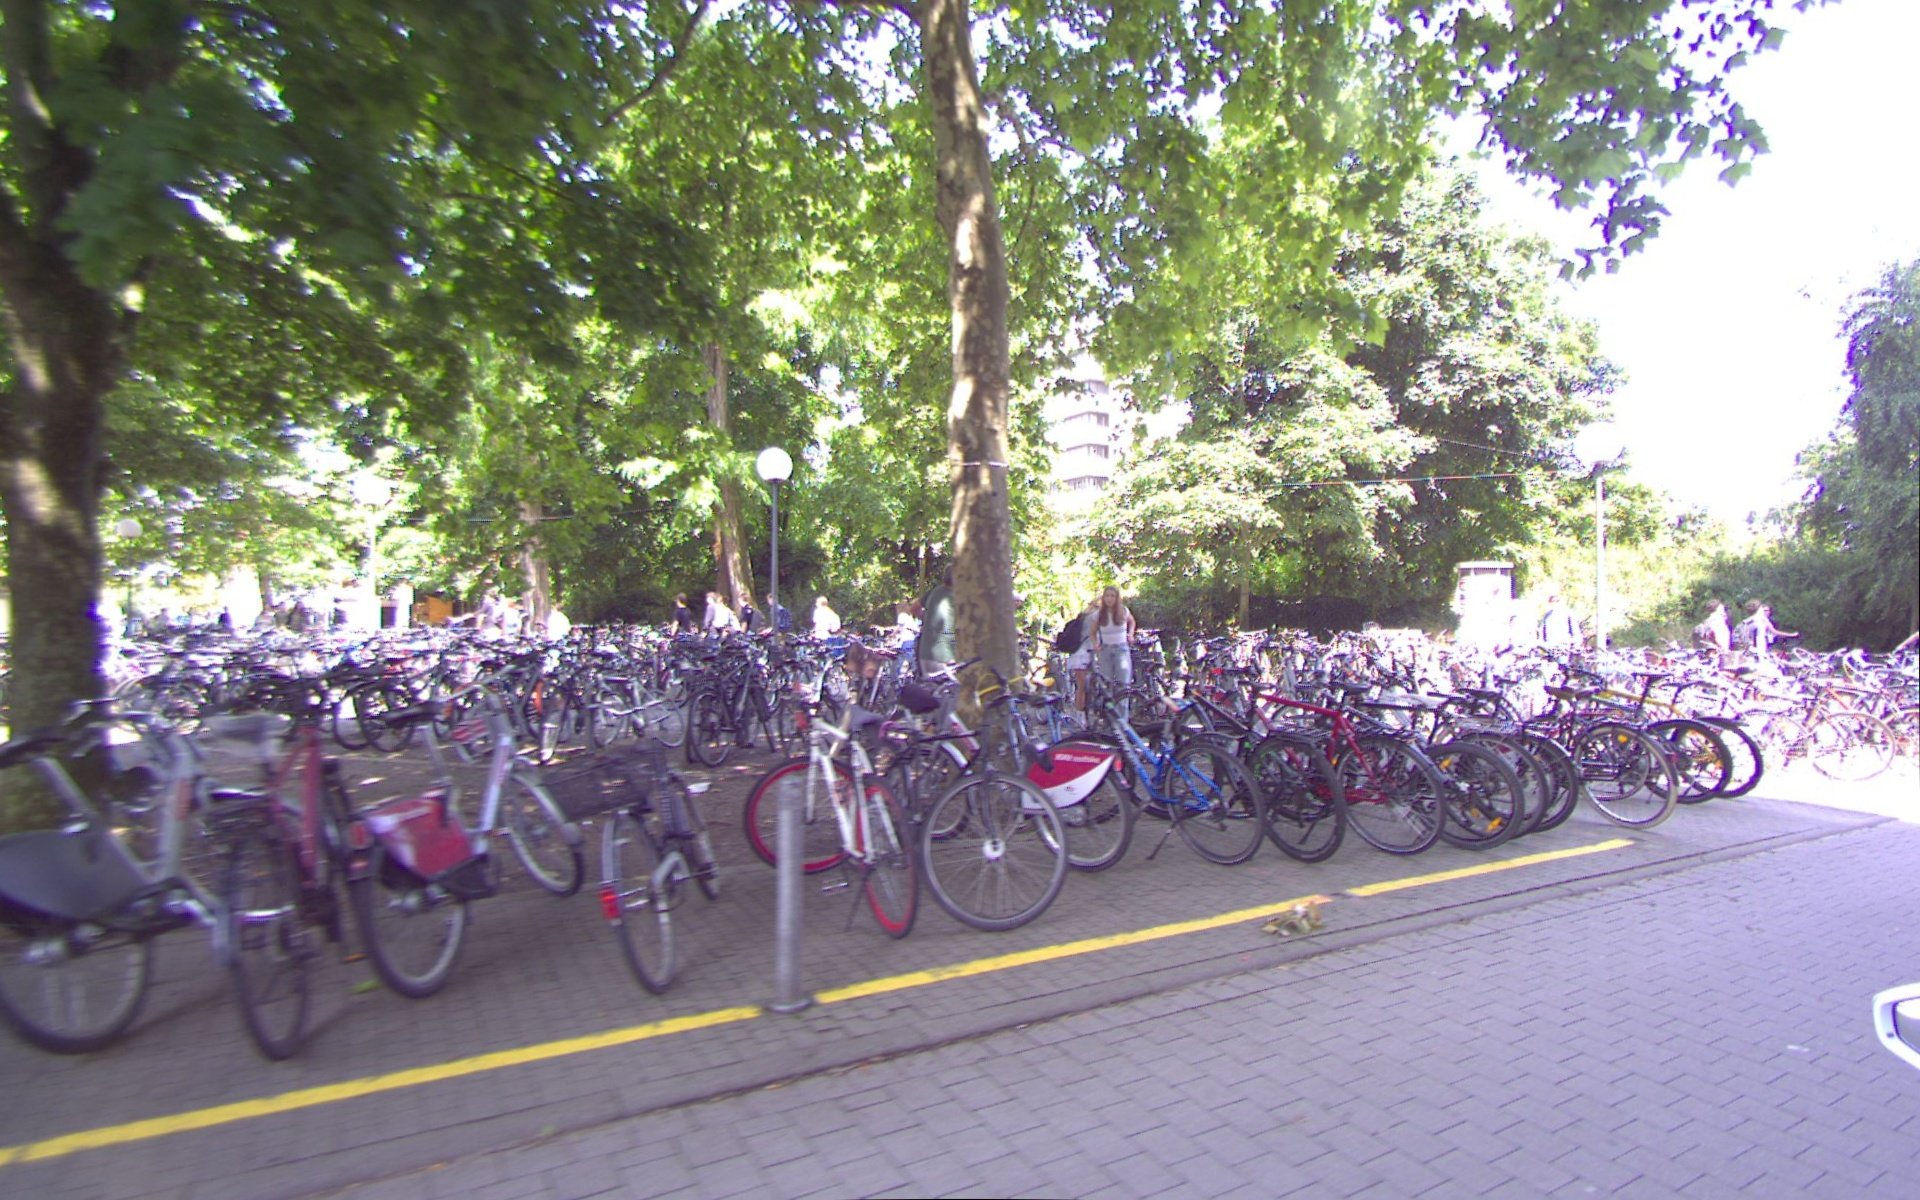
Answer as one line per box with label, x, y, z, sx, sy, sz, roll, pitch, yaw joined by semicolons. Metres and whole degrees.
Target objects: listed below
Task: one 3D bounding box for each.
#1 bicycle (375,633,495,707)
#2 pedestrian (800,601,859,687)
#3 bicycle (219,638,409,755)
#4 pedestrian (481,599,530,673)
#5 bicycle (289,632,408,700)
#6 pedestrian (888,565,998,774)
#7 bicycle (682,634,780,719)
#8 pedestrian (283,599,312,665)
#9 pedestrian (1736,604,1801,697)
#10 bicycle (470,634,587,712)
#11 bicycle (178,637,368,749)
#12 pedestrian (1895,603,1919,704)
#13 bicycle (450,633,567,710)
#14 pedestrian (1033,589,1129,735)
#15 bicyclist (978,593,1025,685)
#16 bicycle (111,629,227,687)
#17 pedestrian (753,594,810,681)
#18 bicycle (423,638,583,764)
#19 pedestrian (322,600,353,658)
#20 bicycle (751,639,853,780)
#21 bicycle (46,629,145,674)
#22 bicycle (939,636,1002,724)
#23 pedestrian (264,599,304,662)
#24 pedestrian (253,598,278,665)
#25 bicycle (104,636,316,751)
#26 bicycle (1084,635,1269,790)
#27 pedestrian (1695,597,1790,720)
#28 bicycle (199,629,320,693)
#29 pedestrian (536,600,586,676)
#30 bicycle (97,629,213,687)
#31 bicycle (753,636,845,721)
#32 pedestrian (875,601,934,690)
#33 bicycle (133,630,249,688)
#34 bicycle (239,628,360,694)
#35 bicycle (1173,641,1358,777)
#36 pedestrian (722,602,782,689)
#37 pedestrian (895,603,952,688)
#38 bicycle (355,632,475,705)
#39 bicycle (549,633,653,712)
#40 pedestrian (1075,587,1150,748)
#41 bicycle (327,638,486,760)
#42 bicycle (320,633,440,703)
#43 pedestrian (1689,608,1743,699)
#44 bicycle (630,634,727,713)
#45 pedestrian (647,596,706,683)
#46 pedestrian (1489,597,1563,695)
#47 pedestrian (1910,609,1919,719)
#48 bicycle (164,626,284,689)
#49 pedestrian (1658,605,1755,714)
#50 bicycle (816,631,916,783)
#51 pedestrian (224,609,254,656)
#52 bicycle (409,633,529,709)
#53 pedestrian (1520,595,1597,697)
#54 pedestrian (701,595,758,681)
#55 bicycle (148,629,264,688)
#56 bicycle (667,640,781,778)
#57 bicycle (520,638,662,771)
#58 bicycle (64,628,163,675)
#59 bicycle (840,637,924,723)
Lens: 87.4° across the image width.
bicycle;-8.503;1.098;16.357;0.465;1.098;1.858;1;-1;22
pedestrian;-2.644;0.871;20.426;0.890;1.702;0.769;1;0;26
bicycle;-7.031;1.007;11.038;0.493;1.123;1.779;1;-1;22
pedestrian;-11.317;0.873;25.020;0.892;1.798;0.767;1;0;37
bicycle;-10.699;1.121;17.654;0.465;1.098;1.858;1;-1;22
pedestrian;-0.148;0.613;9.289;0.756;1.831;0.709;1;0;27
bicycle;-3.231;1.059;14.322;0.465;1.098;1.699;1;0;22
pedestrian;-18.306;0.883;27.739;0.604;1.798;0.652;1;0;-38
pedestrian;15.473;0.949;19.249;0.922;1.747;0.675;-1;-1;37
bicycle;-6.604;1.089;15.469;0.465;1.098;1.858;1;-1;22
bicycle;-7.678;0.998;11.331;0.493;1.123;1.779;1;-1;22
pedestrian;18.179;0.998;18.654;1.029;1.860;0.614;1;-1;2
bicycle;-7.059;1.091;15.805;0.465;1.098;1.858;1;-1;22
pedestrian;1.499;0.741;12.479;0.899;1.725;0.761;1;0;-38
bicyclist;0.741;0.679;17.842;0.707;1.589;0.596;1;0;12
bicycle;-16.060;1.160;20.441;0.465;1.098;1.858;1;-1;22
pedestrian;-3.798;0.784;21.359;0.890;1.798;0.769;1;0;26
bicycle;-4.602;0.976;10.254;0.618;1.123;1.701;1;0;10
pedestrian;-19.668;0.903;31.742;0.761;1.798;0.900;1;0;-30
bicycle;-1.421;0.947;9.274;0.492;1.123;1.700;1;0;6
bicycle;-22.116;1.296;25.737;0.465;1.098;1.856;1;-1;28
bicycle;0.168;1.077;14.014;0.464;1.098;1.700;1;0;14
pedestrian;-19.849;0.877;29.496;0.894;1.798;0.766;1;0;42
pedestrian;-18.879;0.841;27.304;0.498;1.795;0.663;1;0;-39
bicycle;-8.314;0.991;11.248;0.493;1.123;1.906;1;-1;22
bicycle;1.933;0.962;9.174;0.499;1.236;1.679;1;0;-41
pedestrian;12.097;0.892;15.550;0.922;1.860;0.686;0;-1;4
bicycle;-12.837;1.087;18.464;0.465;1.098;1.858;1;-1;22
pedestrian;-9.684;0.905;24.397;0.893;1.798;0.767;1;0;38
bicycle;-16.577;1.170;20.739;0.465;1.098;1.858;1;-1;22
bicycle;-2.249;1.079;14.250;0.465;1.098;1.699;1;0;22
pedestrian;-1.098;0.875;19.841;0.890;1.702;0.769;1;0;26
bicycle;-15.518;1.164;20.328;0.465;1.098;1.858;1;-1;22
bicycle;-11.761;1.059;17.952;0.465;1.098;1.858;1;-1;22
bicycle;2.880;0.991;9.624;0.499;1.123;1.679;1;0;-41
pedestrian;-4.231;0.908;20.479;0.890;1.702;0.769;1;0;26
pedestrian;-0.737;0.913;20.560;0.890;1.702;0.769;1;0;26
bicycle;-8.965;1.095;16.597;0.465;1.098;1.858;1;-1;22
bicycle;-5.414;1.072;15.266;0.465;1.098;1.699;1;0;22
pedestrian;1.694;0.732;11.301;0.754;1.725;0.907;1;0;5
bicycle;-5.757;0.989;10.560;0.492;1.123;1.701;1;0;10
bicycle;-9.857;1.122;17.152;0.465;1.098;1.858;1;-1;22
pedestrian;14.830;1.036;19.711;0.673;1.747;0.731;0;-1;23
bicycle;-4.250;1.084;15.263;0.465;1.098;1.699;1;0;22
pedestrian;-5.988;0.819;21.220;0.890;1.798;0.769;1;0;26
pedestrian;10.894;0.875;19.361;0.966;1.828;0.768;1;0;-10
pedestrian;15.641;1.021;15.912;0.723;1.747;0.680;1;0;-32
bicycle;-13.953;1.065;19.100;0.465;1.098;1.858;1;-1;22
pedestrian;12.181;0.958;16.422;1.043;1.747;0.719;0;-1;2
bicycle;-0.819;0.911;9.177;0.564;1.215;1.700;1;0;6
pedestrian;-28.573;1.269;39.810;0.894;1.826;0.766;1;0;42
bicycle;-7.751;1.090;15.952;0.465;1.098;1.858;1;-1;22
pedestrian;11.040;0.838;18.554;0.867;1.839;0.833;1;0;-10
pedestrian;-4.943;0.801;21.544;0.890;1.798;0.769;1;0;26
bicycle;-14.965;1.133;19.983;0.465;1.098;1.858;1;-1;22
bicycle;-2.178;0.968;9.473;0.492;1.123;1.700;1;0;6
bicycle;-3.541;0.960;9.799;0.492;1.123;1.701;1;0;10
bicycle;-21.109;1.271;25.090;0.465;1.098;1.856;1;-1;28
bicycle;-1.064;1.082;14.098;0.465;1.098;1.699;1;0;22
